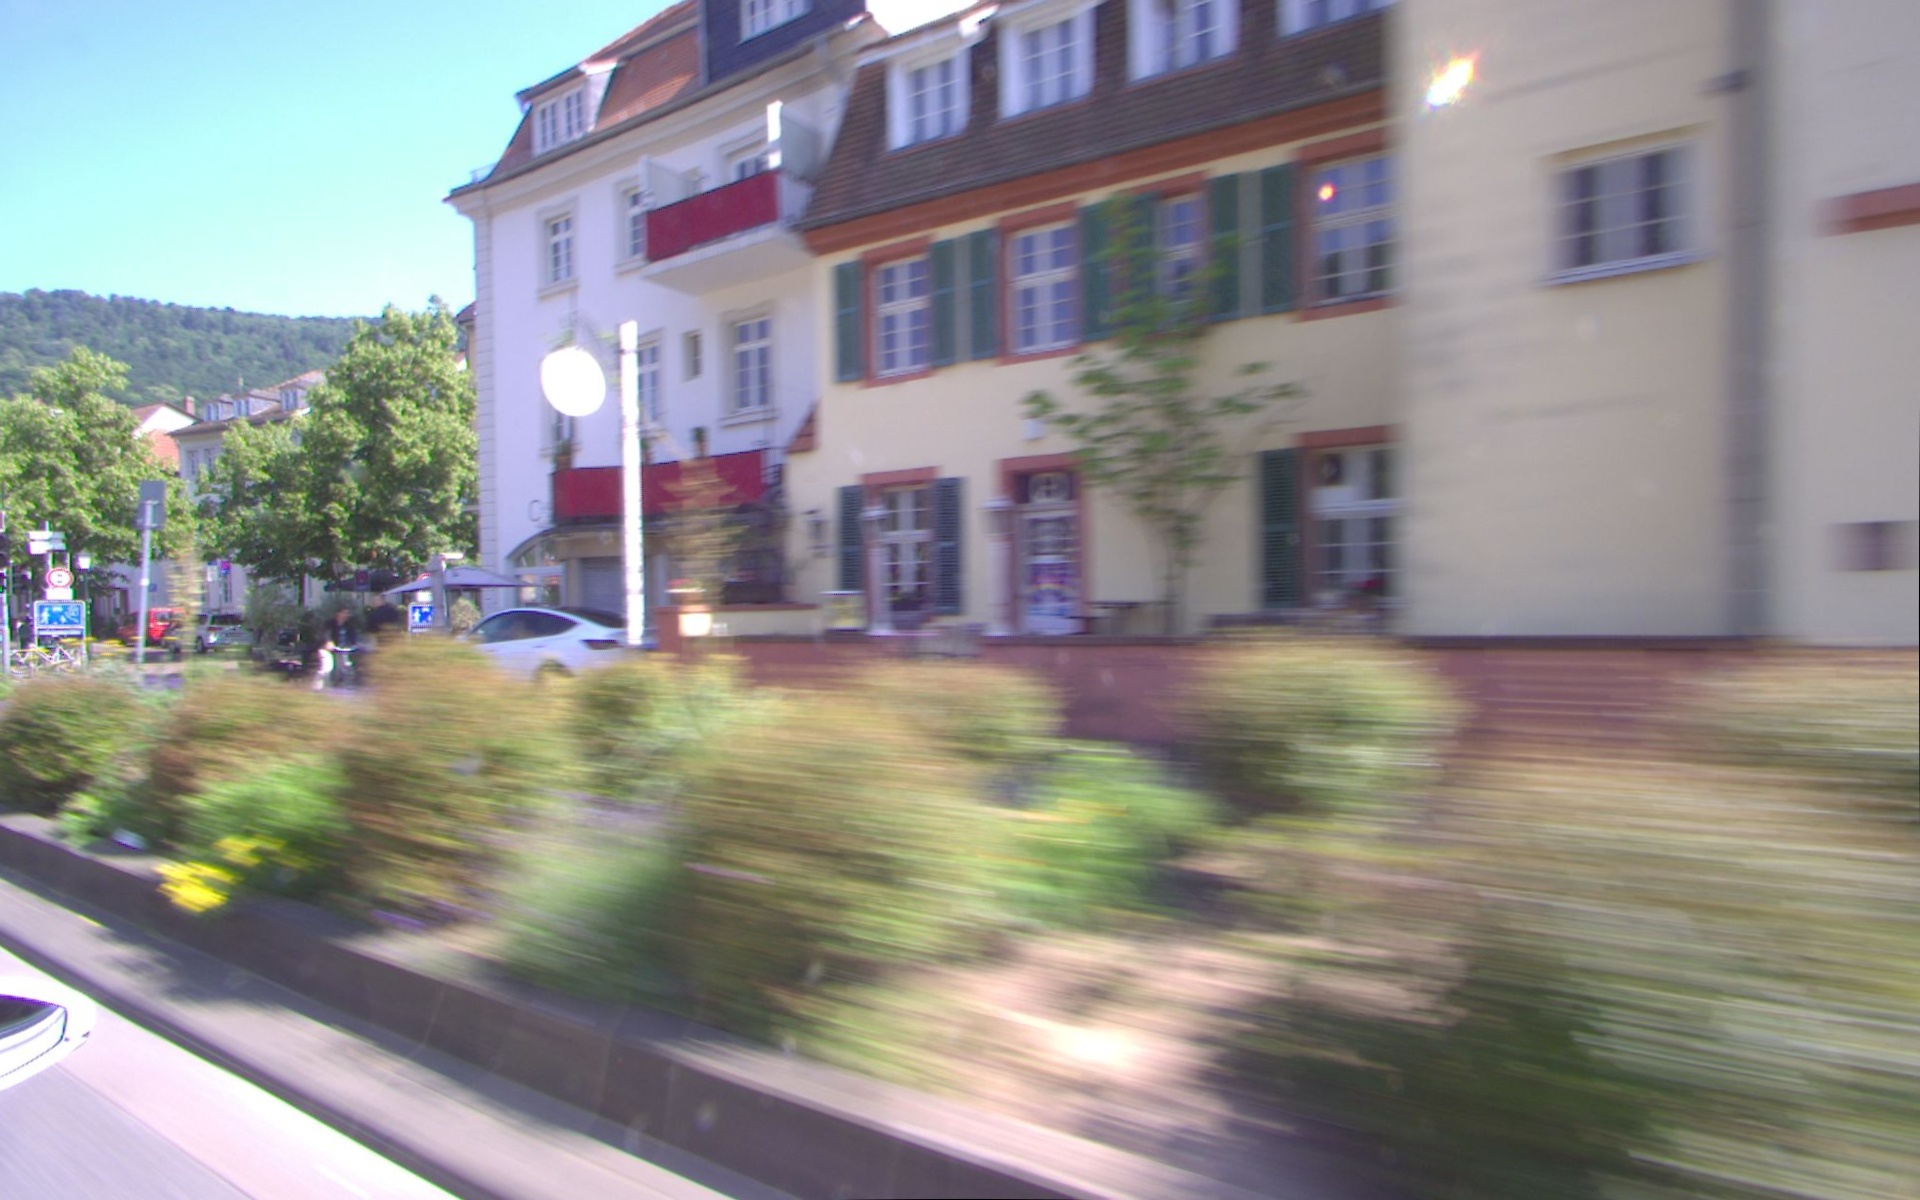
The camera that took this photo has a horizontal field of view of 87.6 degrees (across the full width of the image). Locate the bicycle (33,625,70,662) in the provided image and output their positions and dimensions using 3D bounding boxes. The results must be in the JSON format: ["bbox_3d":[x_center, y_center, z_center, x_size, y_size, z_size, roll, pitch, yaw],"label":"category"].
[{"bbox_3d":[-28.429,1.339,31.346,0.588,1.081,2.051,-2,0,-36],"label":"bicycle"}]

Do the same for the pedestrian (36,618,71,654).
[{"bbox_3d":[-32.532,1.283,35.943,0.752,1.269,0.693,0,1,27],"label":"pedestrian"}]

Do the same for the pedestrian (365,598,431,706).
[{"bbox_3d":[-10.171,0.930,18.142,0.600,1.883,0.761,0,3,27],"label":"pedestrian"}]

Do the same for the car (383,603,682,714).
[{"bbox_3d":[-6.941,0.880,16.202,4.652,1.598,1.877,-1,0,26],"label":"car"}]

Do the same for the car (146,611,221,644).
[{"bbox_3d":[-35.997,1.293,46.432,3.422,1.451,1.671,-1,0,32],"label":"car"}]

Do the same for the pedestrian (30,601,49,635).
[{"bbox_3d":[-51.214,1.022,55.714,0.588,1.865,0.584,0,1,34],"label":"pedestrian"}]

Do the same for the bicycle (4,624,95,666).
[{"bbox_3d":[-27.169,1.350,29.920,1.986,1.213,0.516,2,-1,-44],"label":"bicycle"}]

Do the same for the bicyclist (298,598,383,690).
[{"bbox_3d":[-11.057,0.774,17.880,1.070,1.604,0.767,-1,1,21],"label":"bicyclist"}]

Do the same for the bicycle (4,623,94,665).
[{"bbox_3d":[-27.524,1.314,30.277,1.999,1.214,0.516,1,-1,-44],"label":"bicycle"}]

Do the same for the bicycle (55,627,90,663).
[{"bbox_3d":[-27.968,1.413,31.590,0.588,1.081,2.051,-2,-1,-36],"label":"bicycle"}]

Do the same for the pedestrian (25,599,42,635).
[{"bbox_3d":[-53.077,0.985,57.363,0.588,2.040,0.584,0,1,34],"label":"pedestrian"}]

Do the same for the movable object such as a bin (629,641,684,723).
[{"bbox_3d":[-4.216,1.124,13.928,0.360,1.081,0.639,-1,1,35],"label":"movable object such as a bin"}]

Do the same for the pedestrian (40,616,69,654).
[{"bbox_3d":[-33.074,1.276,36.582,0.533,1.400,0.625,0,-1,27],"label":"pedestrian"}]

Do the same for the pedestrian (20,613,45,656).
[{"bbox_3d":[-33.668,1.238,36.350,0.679,1.537,0.459,0,0,27],"label":"pedestrian"}]

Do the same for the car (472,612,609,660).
[{"bbox_3d":[-14.222,1.182,34.156,1.808,1.475,3.977,1,0,34],"label":"car"}]

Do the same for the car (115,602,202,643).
[{"bbox_3d":[-39.719,1.073,49.594,4.567,1.927,1.989,-1,1,33],"label":"car"}]

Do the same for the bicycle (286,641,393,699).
[{"bbox_3d":[-11.110,1.238,17.920,1.752,0.976,0.750,-1,0,23],"label":"bicycle"}]

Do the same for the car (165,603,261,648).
[{"bbox_3d":[-30.650,1.025,41.039,4.505,1.752,1.764,-1,1,34],"label":"car"}]
